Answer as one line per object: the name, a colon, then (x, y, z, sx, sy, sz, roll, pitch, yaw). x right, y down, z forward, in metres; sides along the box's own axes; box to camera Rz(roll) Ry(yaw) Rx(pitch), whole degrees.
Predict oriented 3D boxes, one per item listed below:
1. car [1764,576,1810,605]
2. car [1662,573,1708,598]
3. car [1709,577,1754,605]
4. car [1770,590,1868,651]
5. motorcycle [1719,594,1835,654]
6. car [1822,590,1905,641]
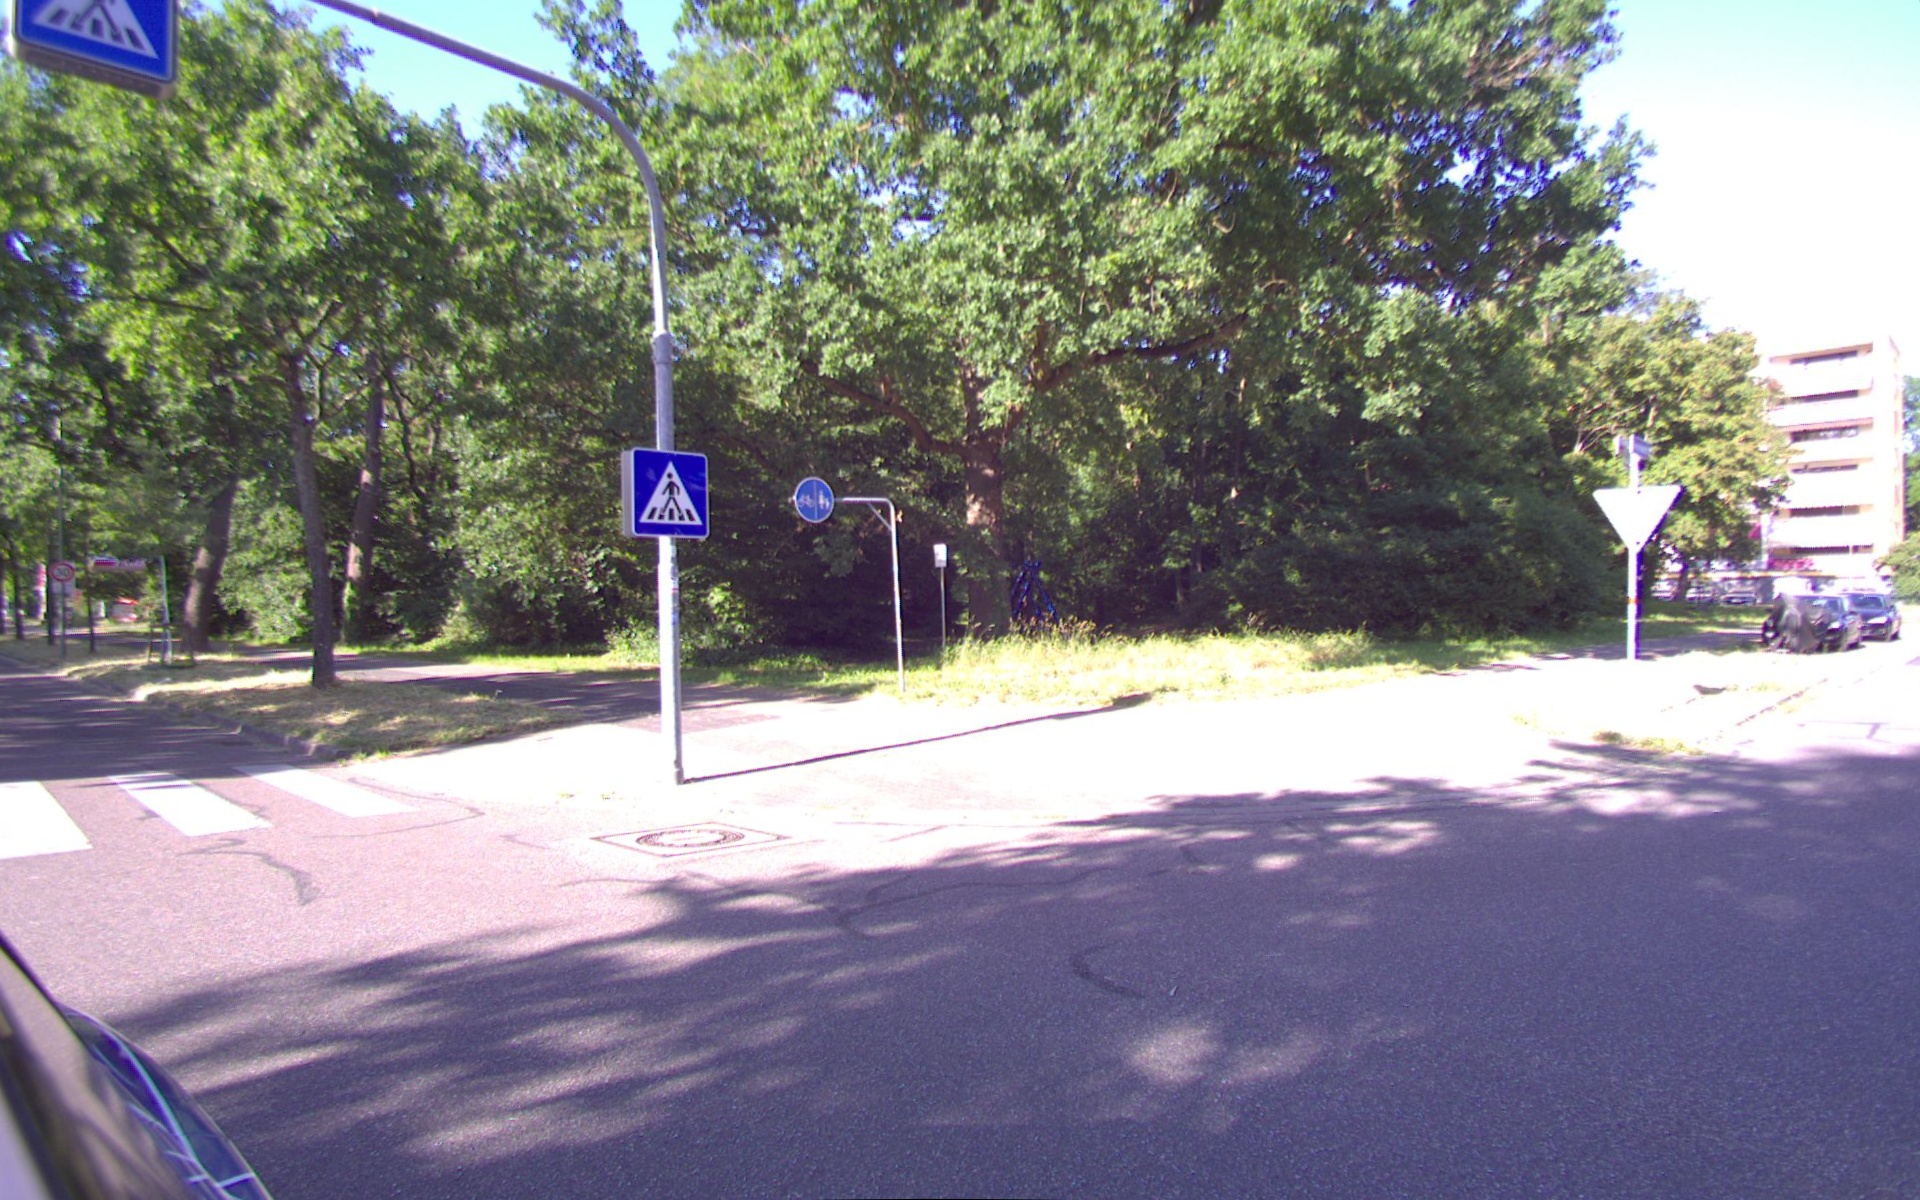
car: (51.930, -0.582, 63.491, 3.779, 1.757, 1.764, -1, 0, -44)
car: (48.266, -0.963, 67.334, 3.779, 1.538, 1.802, -1, 0, -44)
car: (50.237, -0.603, 65.857, 3.779, 1.757, 1.764, -1, 0, -44)
car: (22.105, 0.491, 26.005, 3.535, 1.402, 1.561, -1, 0, -44)
motorcycle: (18.908, 0.553, 23.467, 1.944, 1.354, 0.672, -1, 0, 16)
car: (27.037, 0.434, 30.240, 3.535, 1.402, 1.561, -1, 0, -44)
